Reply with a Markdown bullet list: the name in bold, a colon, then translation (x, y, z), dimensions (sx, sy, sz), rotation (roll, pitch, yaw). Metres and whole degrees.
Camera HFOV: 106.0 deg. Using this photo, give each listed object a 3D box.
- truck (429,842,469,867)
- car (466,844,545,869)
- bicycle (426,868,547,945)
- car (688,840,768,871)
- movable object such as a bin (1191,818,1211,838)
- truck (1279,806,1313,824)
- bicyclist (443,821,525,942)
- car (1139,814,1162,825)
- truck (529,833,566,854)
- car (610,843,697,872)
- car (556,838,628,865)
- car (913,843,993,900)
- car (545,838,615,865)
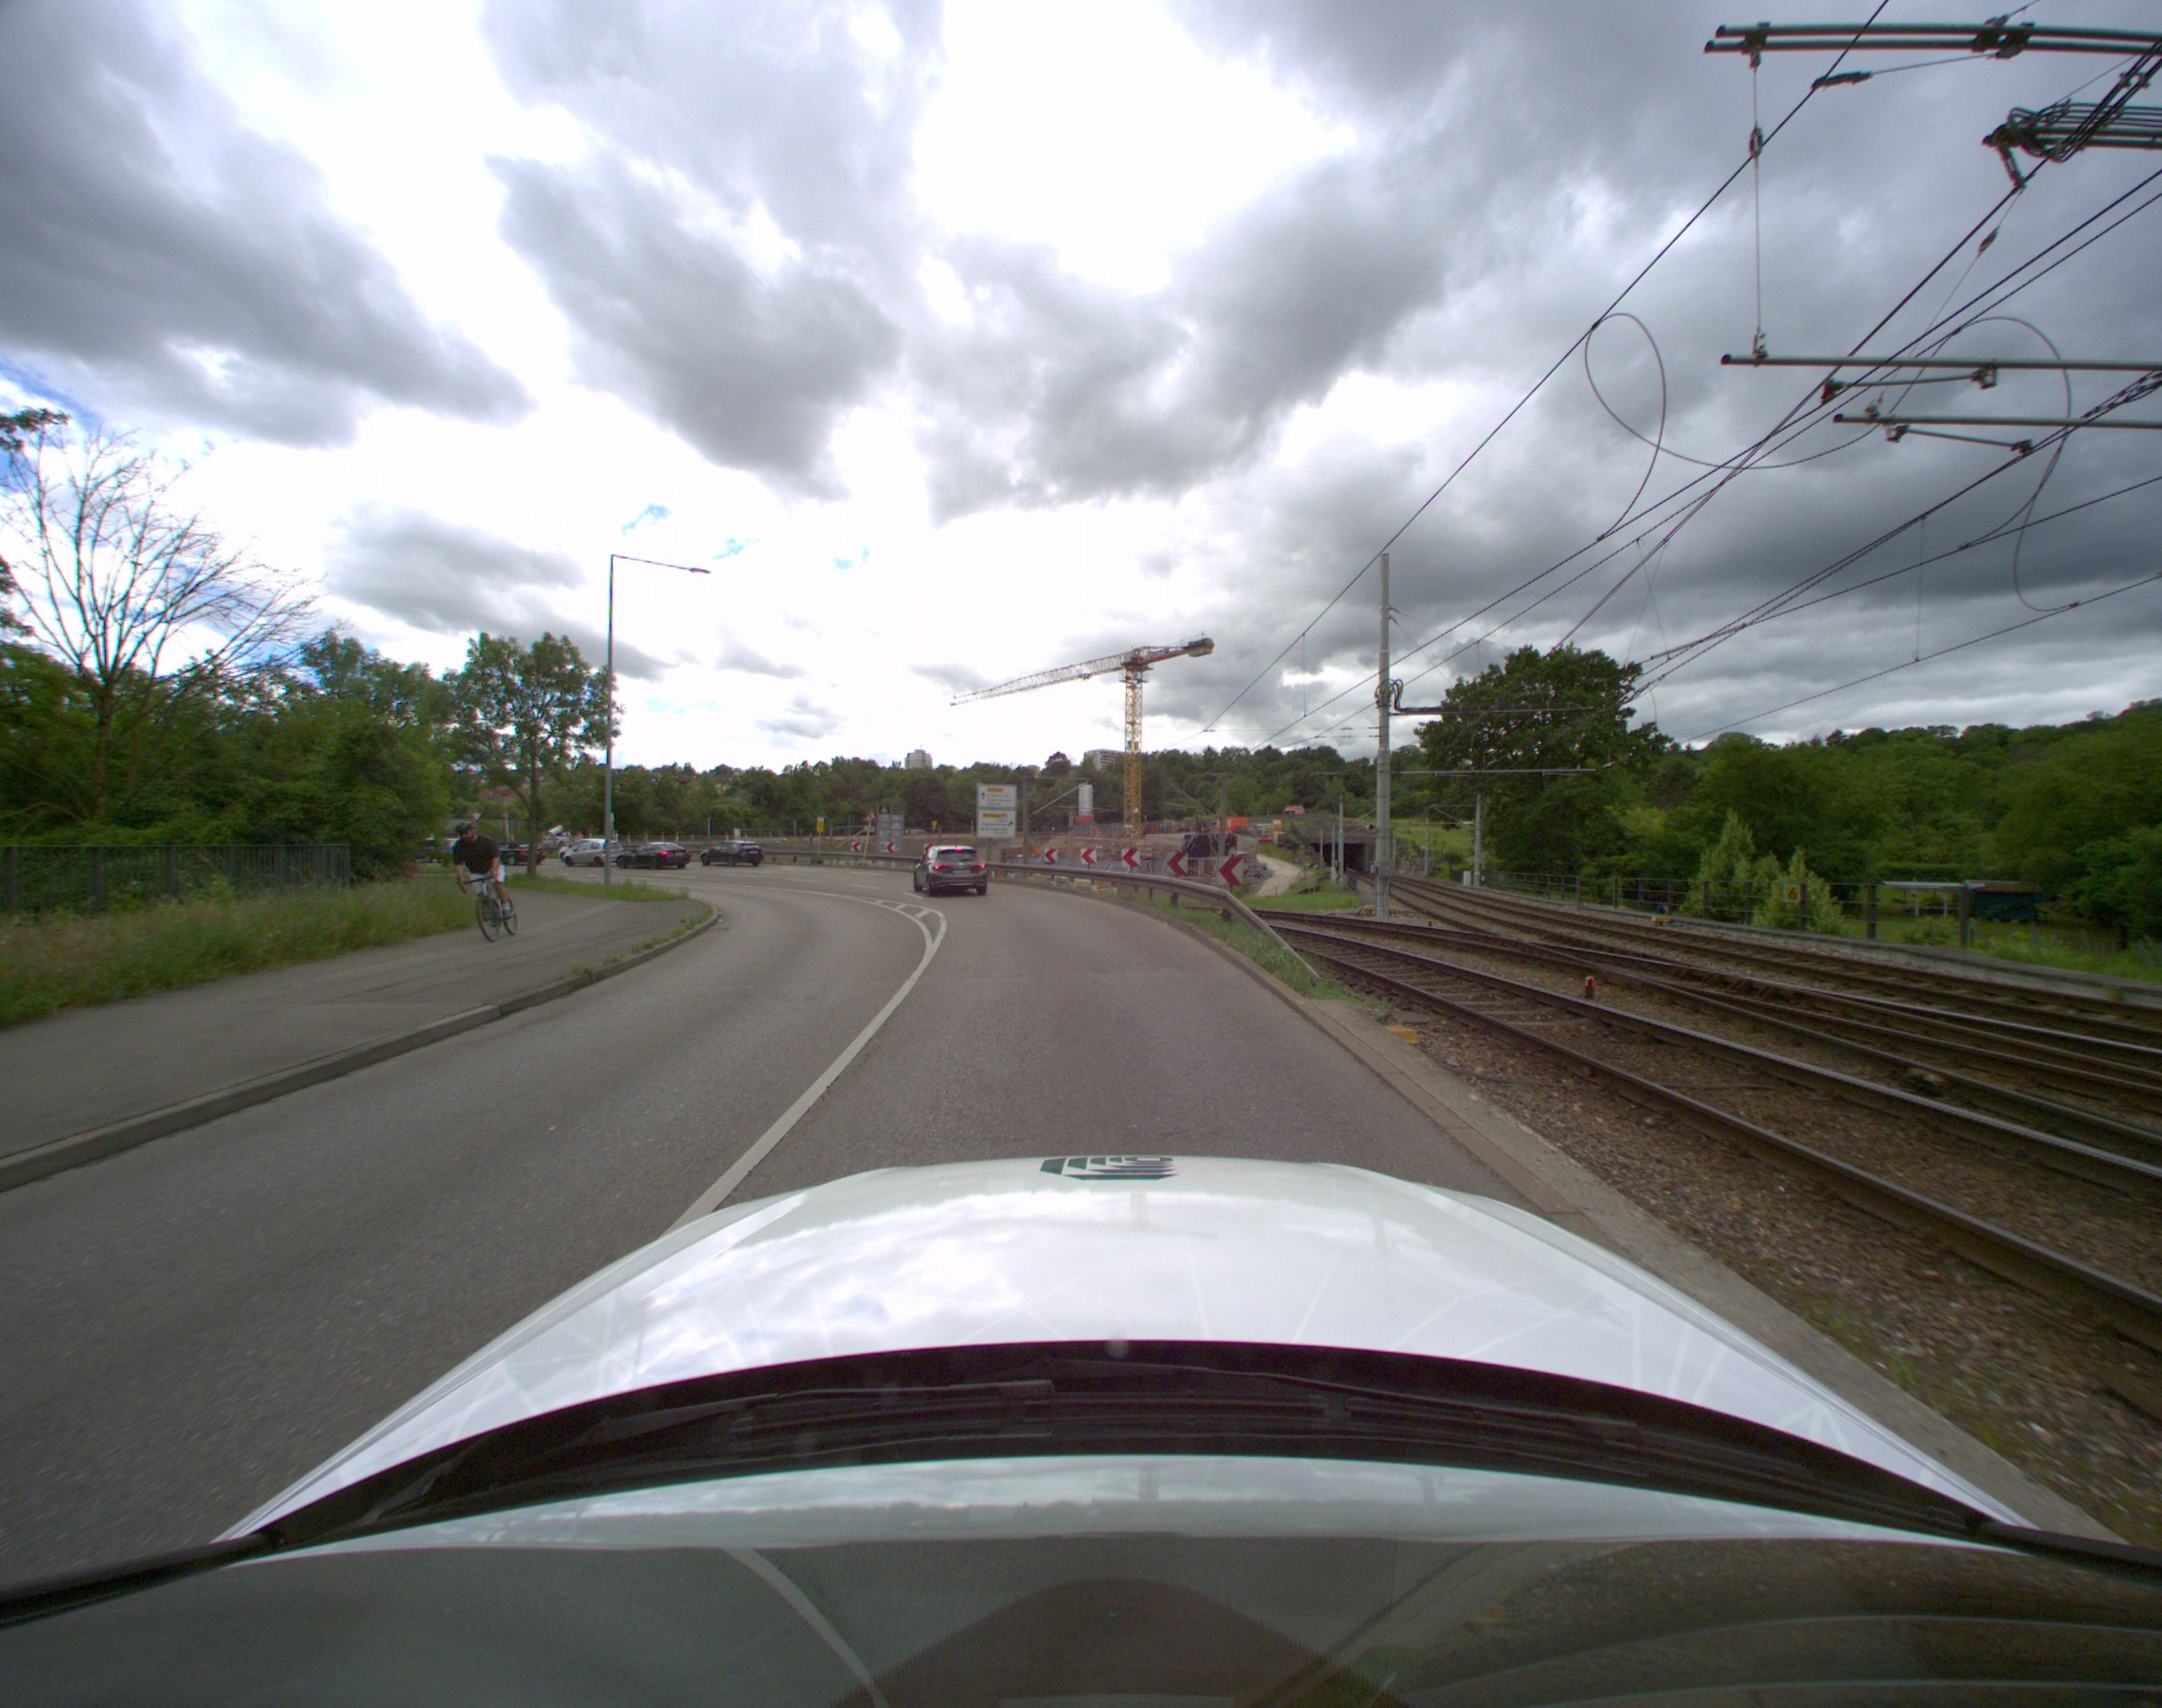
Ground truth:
- **truck**: translation (-53.225, 0.075, 68.661), dimensions (1.741, 2.014, 3.204), rotation (2, -1, -22)
- **car**: translation (-35.025, 0.127, 49.583), dimensions (4.040, 1.367, 1.575), rotation (0, 4, 14)
- **bicycle**: translation (-9.333, 0.787, 12.879), dimensions (0.736, 1.072, 1.875), rotation (2, 0, -9)
- **car**: translation (-20.532, 0.061, 47.374), dimensions (4.153, 1.636, 1.890), rotation (1, 3, 25)
- **movable object such as a bin**: translation (19.230, -4.108, 130.641), dimensions (1.850, 3.077, 2.769), rotation (-1, 0, -38)
- **truck**: translation (52.561, -9.381, 198.900), dimensions (9.846, 4.220, 3.084), rotation (-1, 2, -42)
- **bicyclist**: translation (-9.291, 0.423, 12.709), dimensions (0.627, 1.808, 0.898), rotation (2, -1, -10)
- **car**: translation (13.147, -6.430, 153.188), dimensions (4.017, 2.013, 1.979), rotation (-1, 1, -35)
- **truck**: translation (-53.464, -1.024, 81.713), dimensions (1.998, 2.014, 3.976), rotation (2, -1, -17)
- **car**: translation (-24.267, 0.164, 46.200), dimensions (4.902, 1.476, 1.891), rotation (1, 4, 27)
- **car**: translation (-29.085, -0.165, 48.427), dimensions (3.587, 1.469, 1.683), rotation (1, 4, 19)
- **car**: translation (-4.152, 0.487, 25.918), dimensions (1.803, 1.551, 3.975), rotation (-1, 2, -19)
- **car**: translation (-32.887, -0.157, 53.467), dimensions (3.955, 1.675, 1.725), rotation (0, 0, 17)
